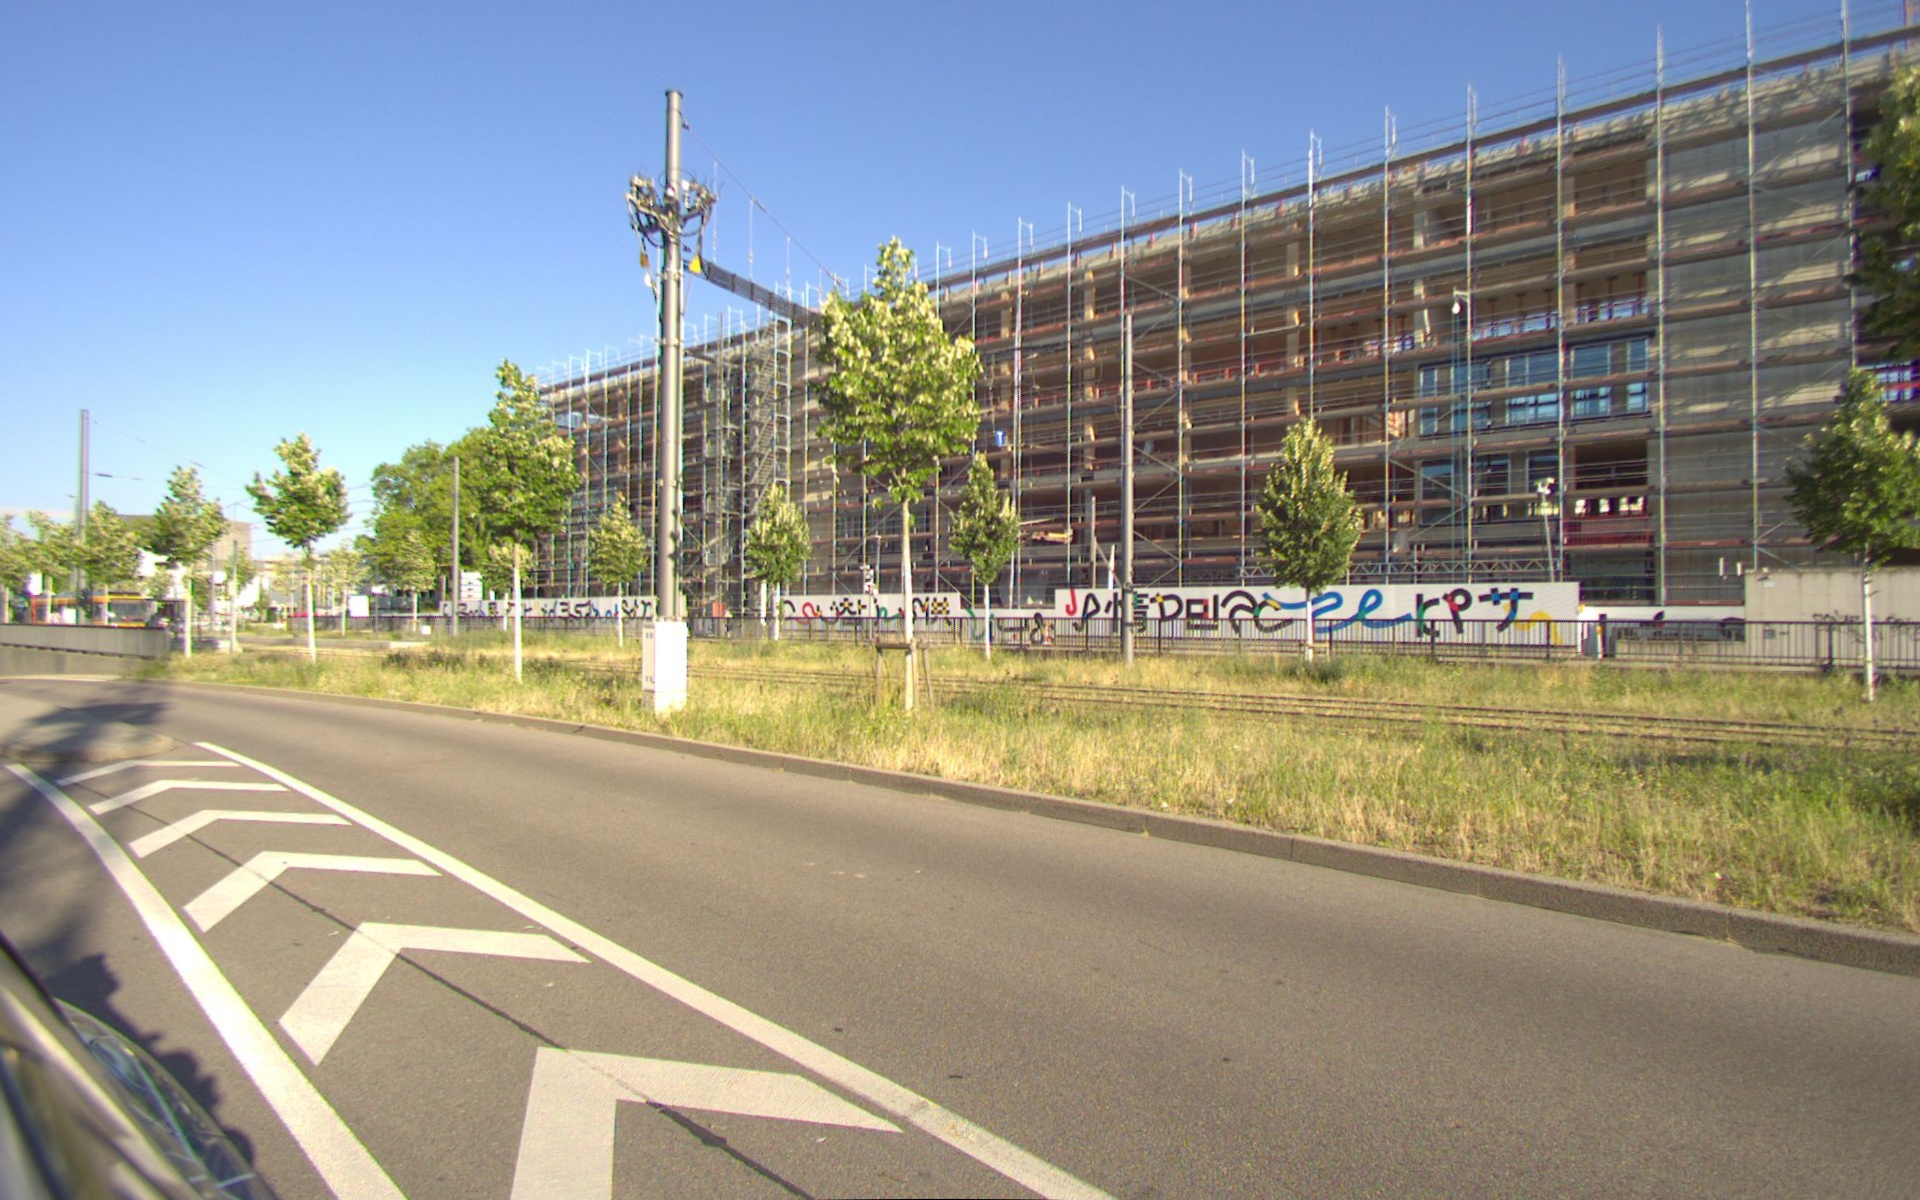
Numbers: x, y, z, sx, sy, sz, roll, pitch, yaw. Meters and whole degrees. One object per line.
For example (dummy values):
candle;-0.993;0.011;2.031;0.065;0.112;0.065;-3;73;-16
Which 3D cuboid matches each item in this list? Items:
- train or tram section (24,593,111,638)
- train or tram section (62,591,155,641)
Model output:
train or tram section;-73.329;1.270;82.999;14.749;3.423;2.917;-1;0;39
train or tram section;-62.734;1.128;74.408;12.619;3.423;2.917;-1;0;39
